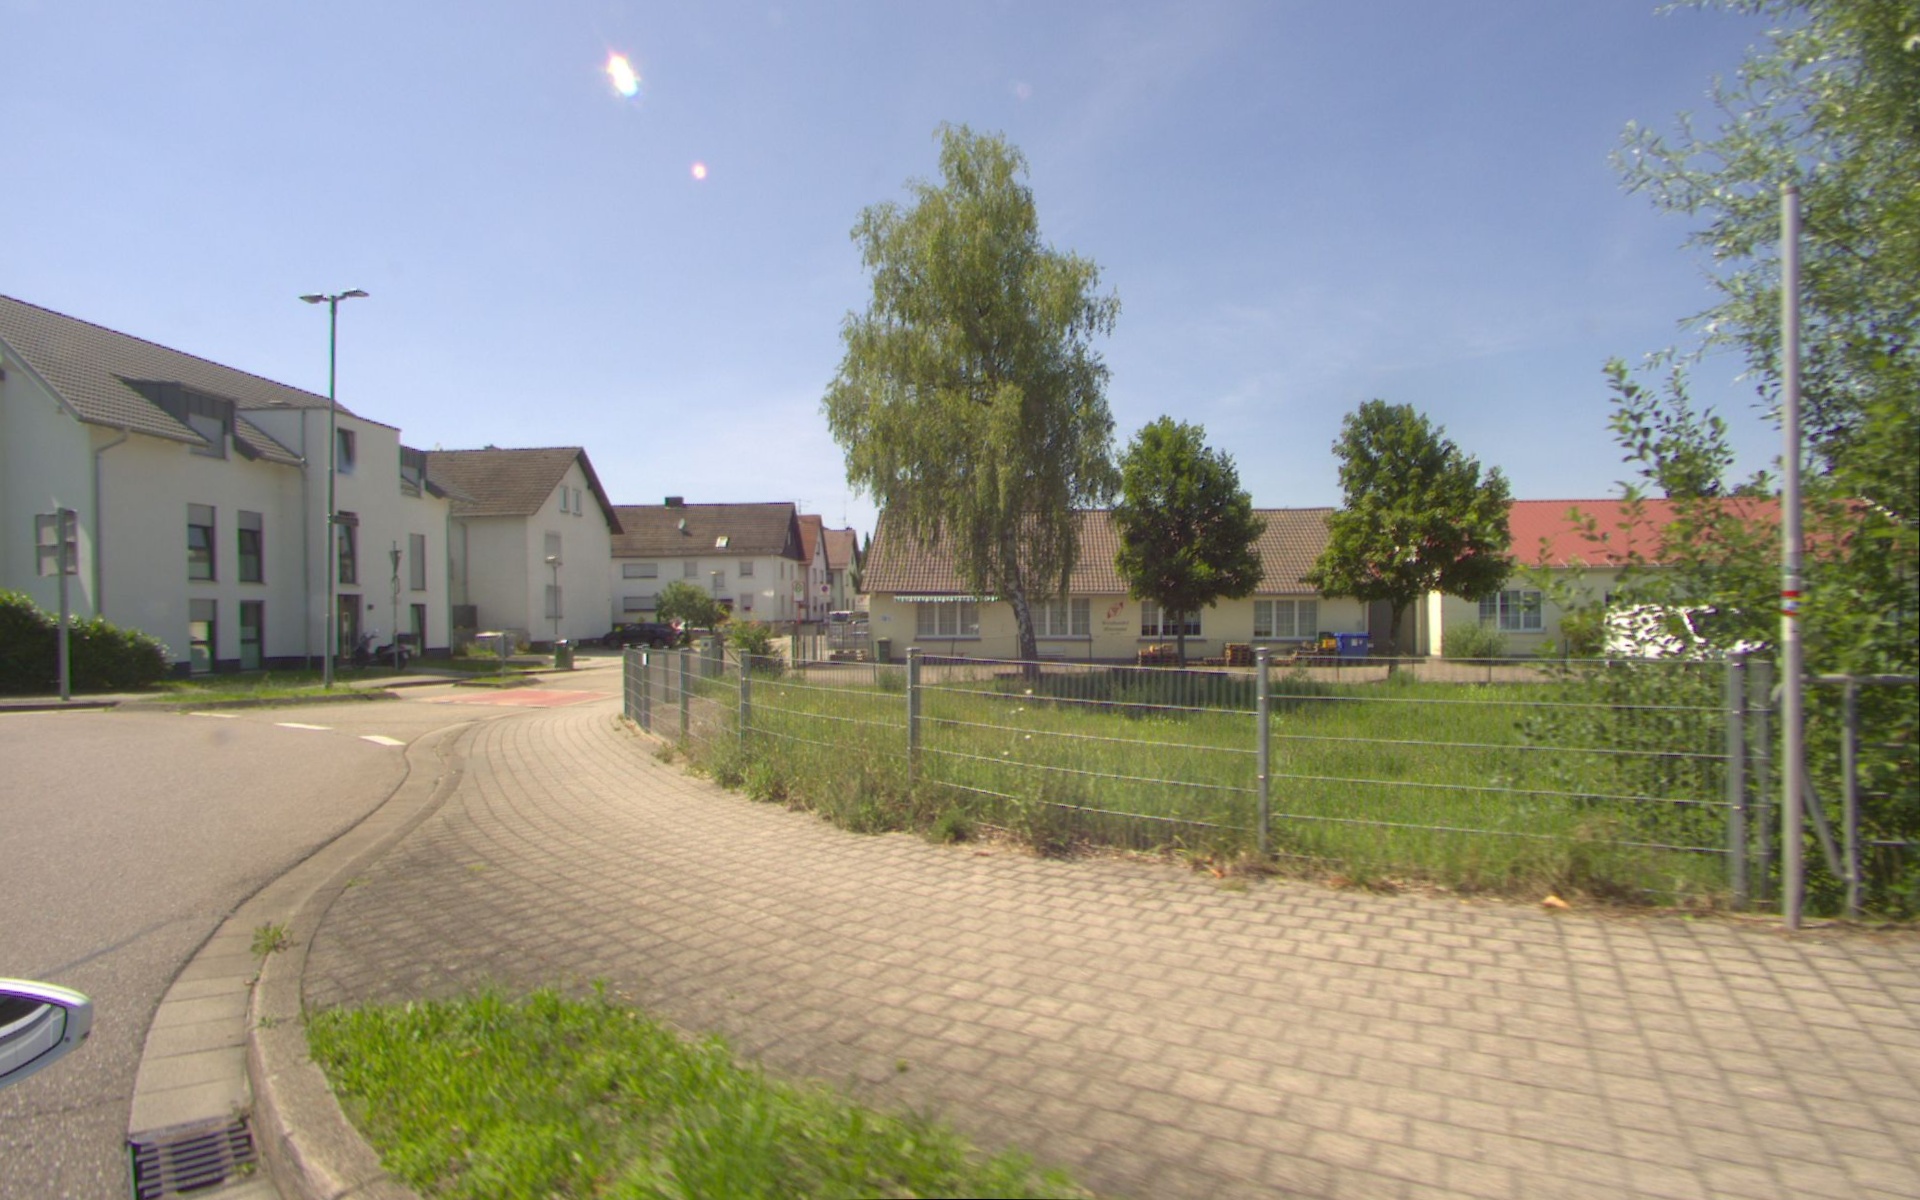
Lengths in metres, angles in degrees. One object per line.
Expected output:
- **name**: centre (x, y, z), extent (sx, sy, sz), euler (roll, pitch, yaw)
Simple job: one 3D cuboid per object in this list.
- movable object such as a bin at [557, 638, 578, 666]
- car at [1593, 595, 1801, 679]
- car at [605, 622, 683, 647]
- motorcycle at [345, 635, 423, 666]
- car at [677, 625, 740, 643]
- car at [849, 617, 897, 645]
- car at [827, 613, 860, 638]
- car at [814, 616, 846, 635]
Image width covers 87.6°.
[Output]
- **movable object such as a bin**: centre (-15.433, 2.035, 39.398), extent (0.635, 1.098, 0.458), euler (0, 0, 11)
- **car**: centre (21.460, 1.112, 29.536), extent (2.172, 2.229, 5.188), euler (0, -2, -1)
- **car**: centre (-17.954, 1.970, 56.997), extent (3.922, 1.401, 1.661), euler (0, -1, 1)
- **motorcycle**: centre (-19.439, 1.695, 33.831), extent (2.323, 1.026, 0.672), euler (0, -2, 7)
- **car**: centre (-17.516, 2.390, 69.969), extent (3.922, 1.206, 1.841), euler (0, -1, 1)
- **car**: centre (-5.081, 1.840, 58.567), extent (2.699, 1.618, 1.172), euler (-1, -2, 3)
- **car**: centre (-8.784, 1.966, 75.909), extent (1.821, 1.809, 4.002), euler (-1, -2, 3)
- **car**: centre (-11.207, 2.184, 86.410), extent (1.961, 1.573, 4.001), euler (0, -1, 4)
